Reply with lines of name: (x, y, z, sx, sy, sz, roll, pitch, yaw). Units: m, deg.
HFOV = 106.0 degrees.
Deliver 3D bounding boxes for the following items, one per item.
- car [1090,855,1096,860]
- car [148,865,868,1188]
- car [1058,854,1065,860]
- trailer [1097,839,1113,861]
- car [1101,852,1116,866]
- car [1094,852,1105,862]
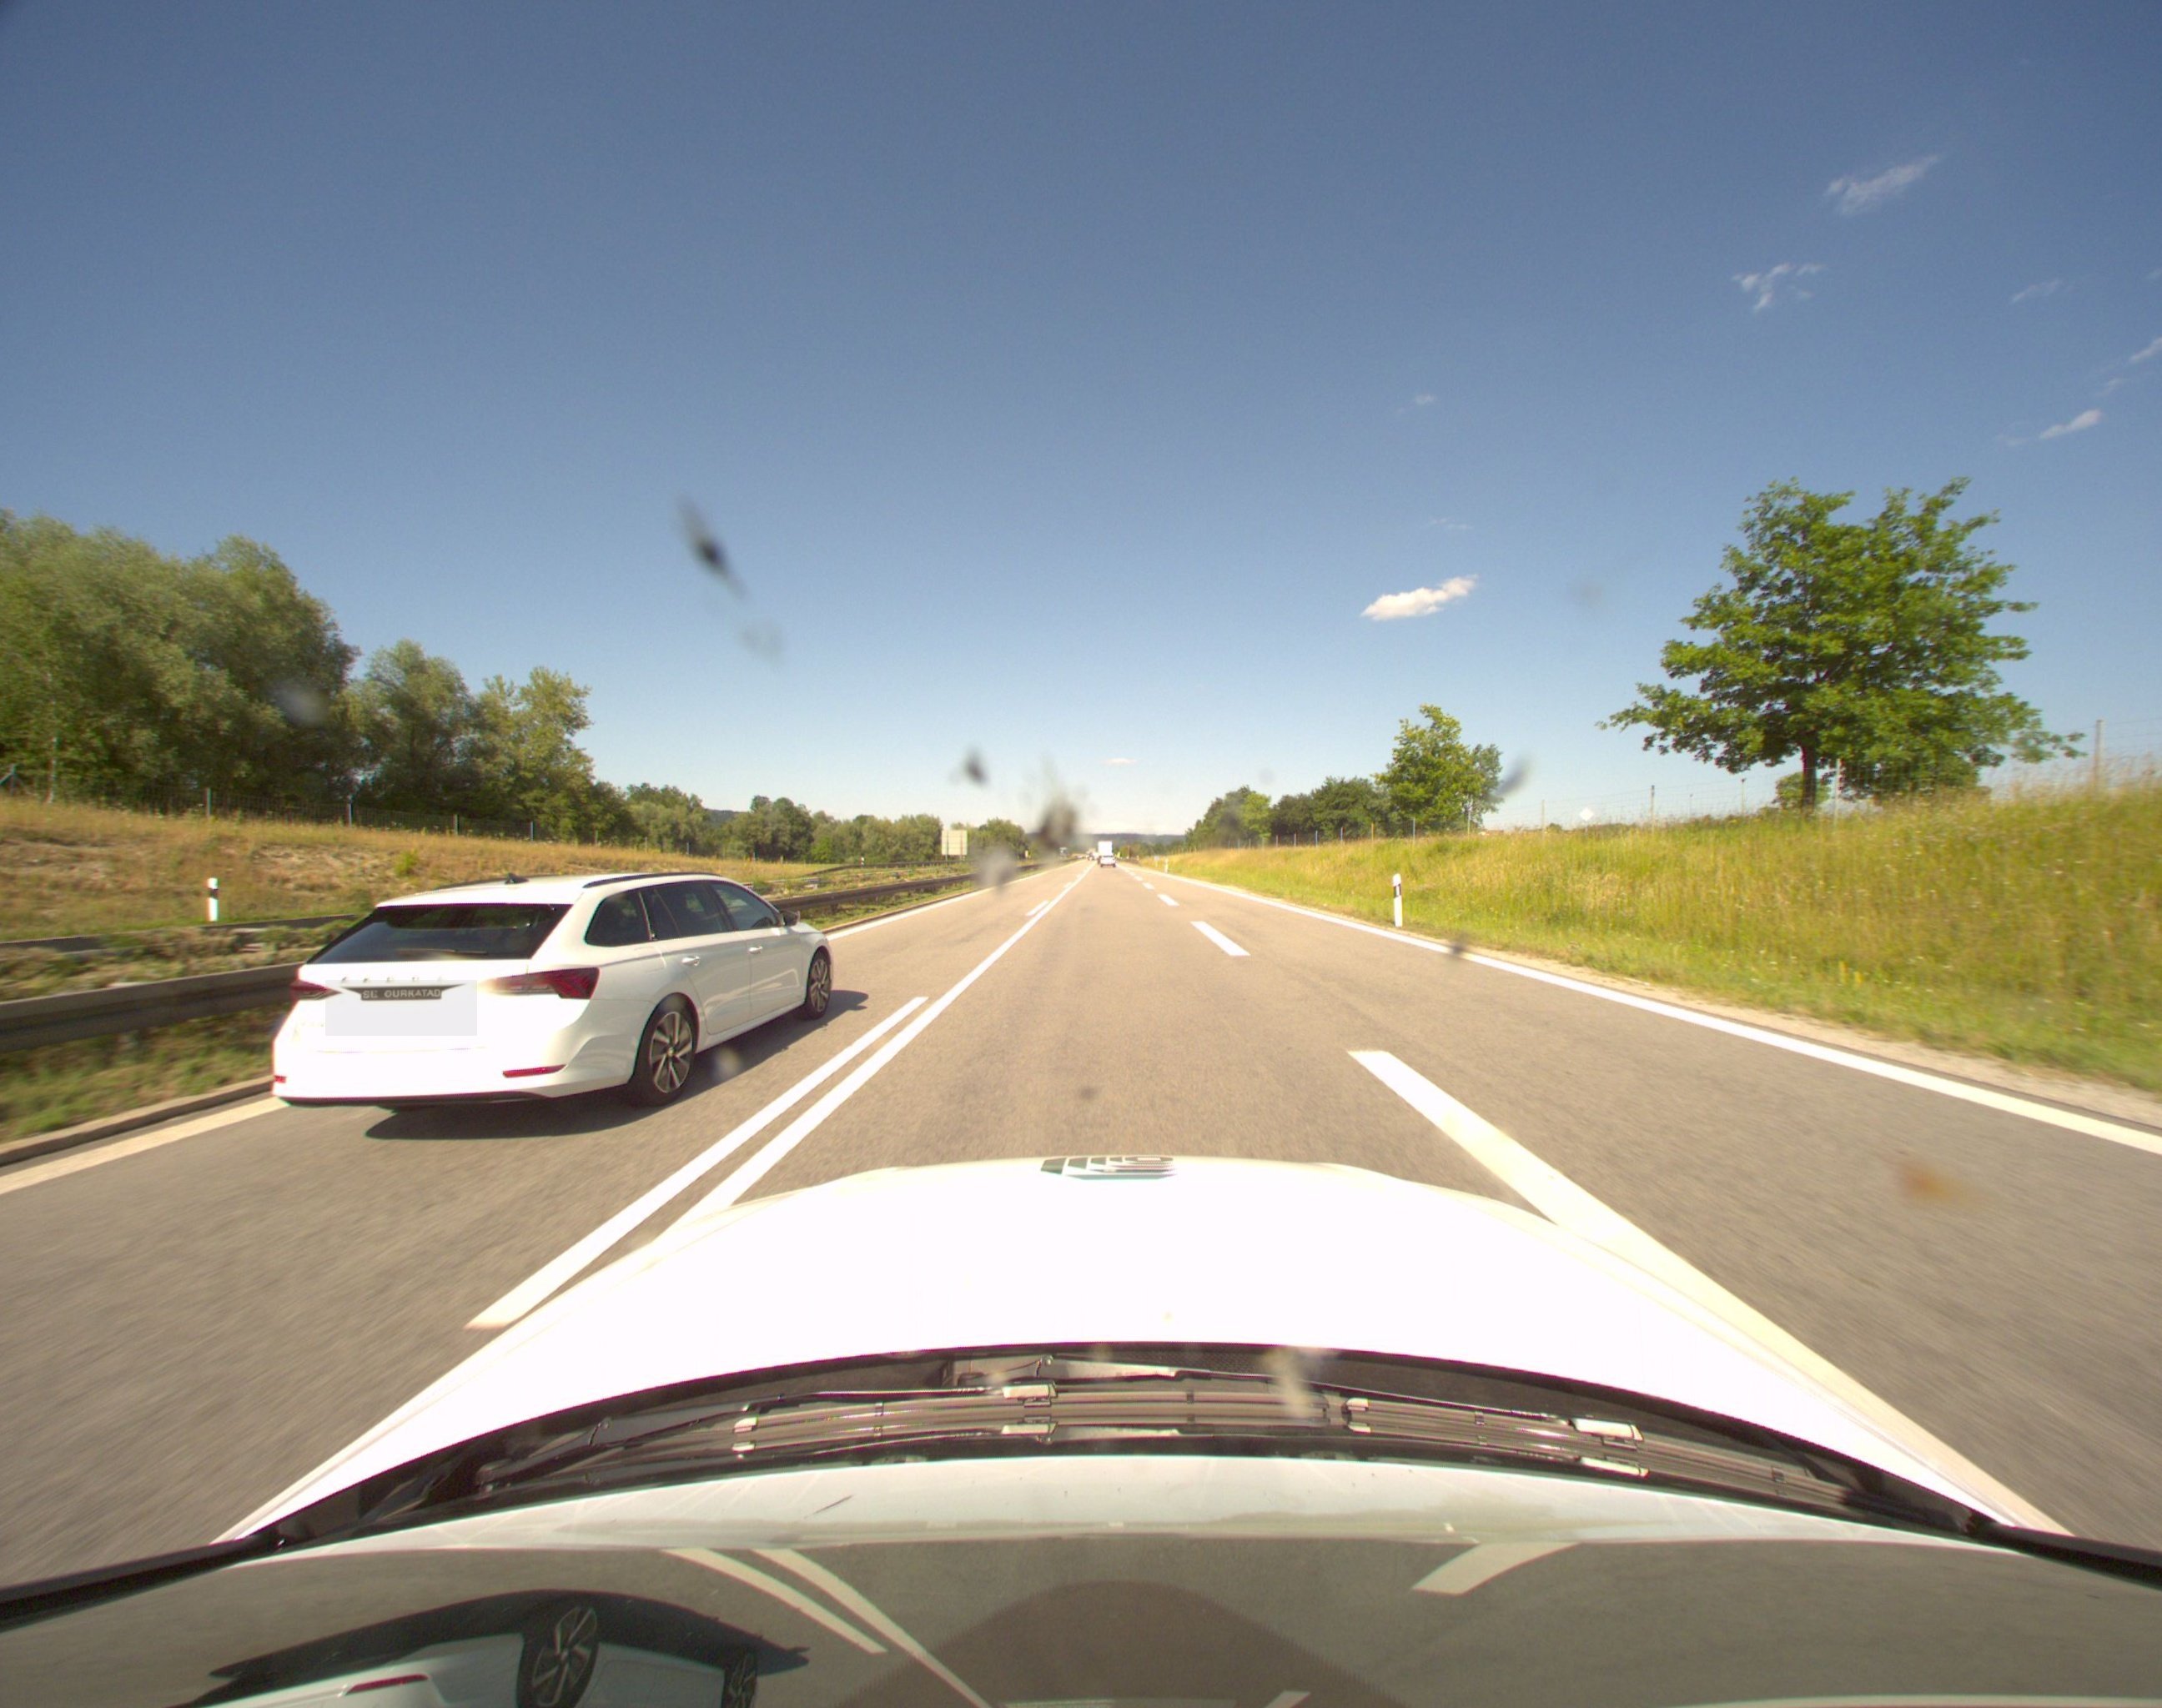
car: (3.324, 0.908, 226.420, 1.764, 1.421, 4.497, 2, 0, 2)
car: (-3.385, 0.847, 6.447, 1.833, 1.421, 5.256, -1, 0, 2)
car: (-6.153, 0.846, 259.766, 1.843, 1.803, 4.872, -2, 1, 1)
trailer: (4.705, -0.689, 158.134, 2.807, 3.966, 14.168, 0, 0, 2)
car: (3.225, 0.595, 96.929, 1.678, 1.496, 4.989, 3, 1, 1)
car: (3.018, 0.504, 129.105, 1.659, 1.454, 4.546, 2, 0, 2)
